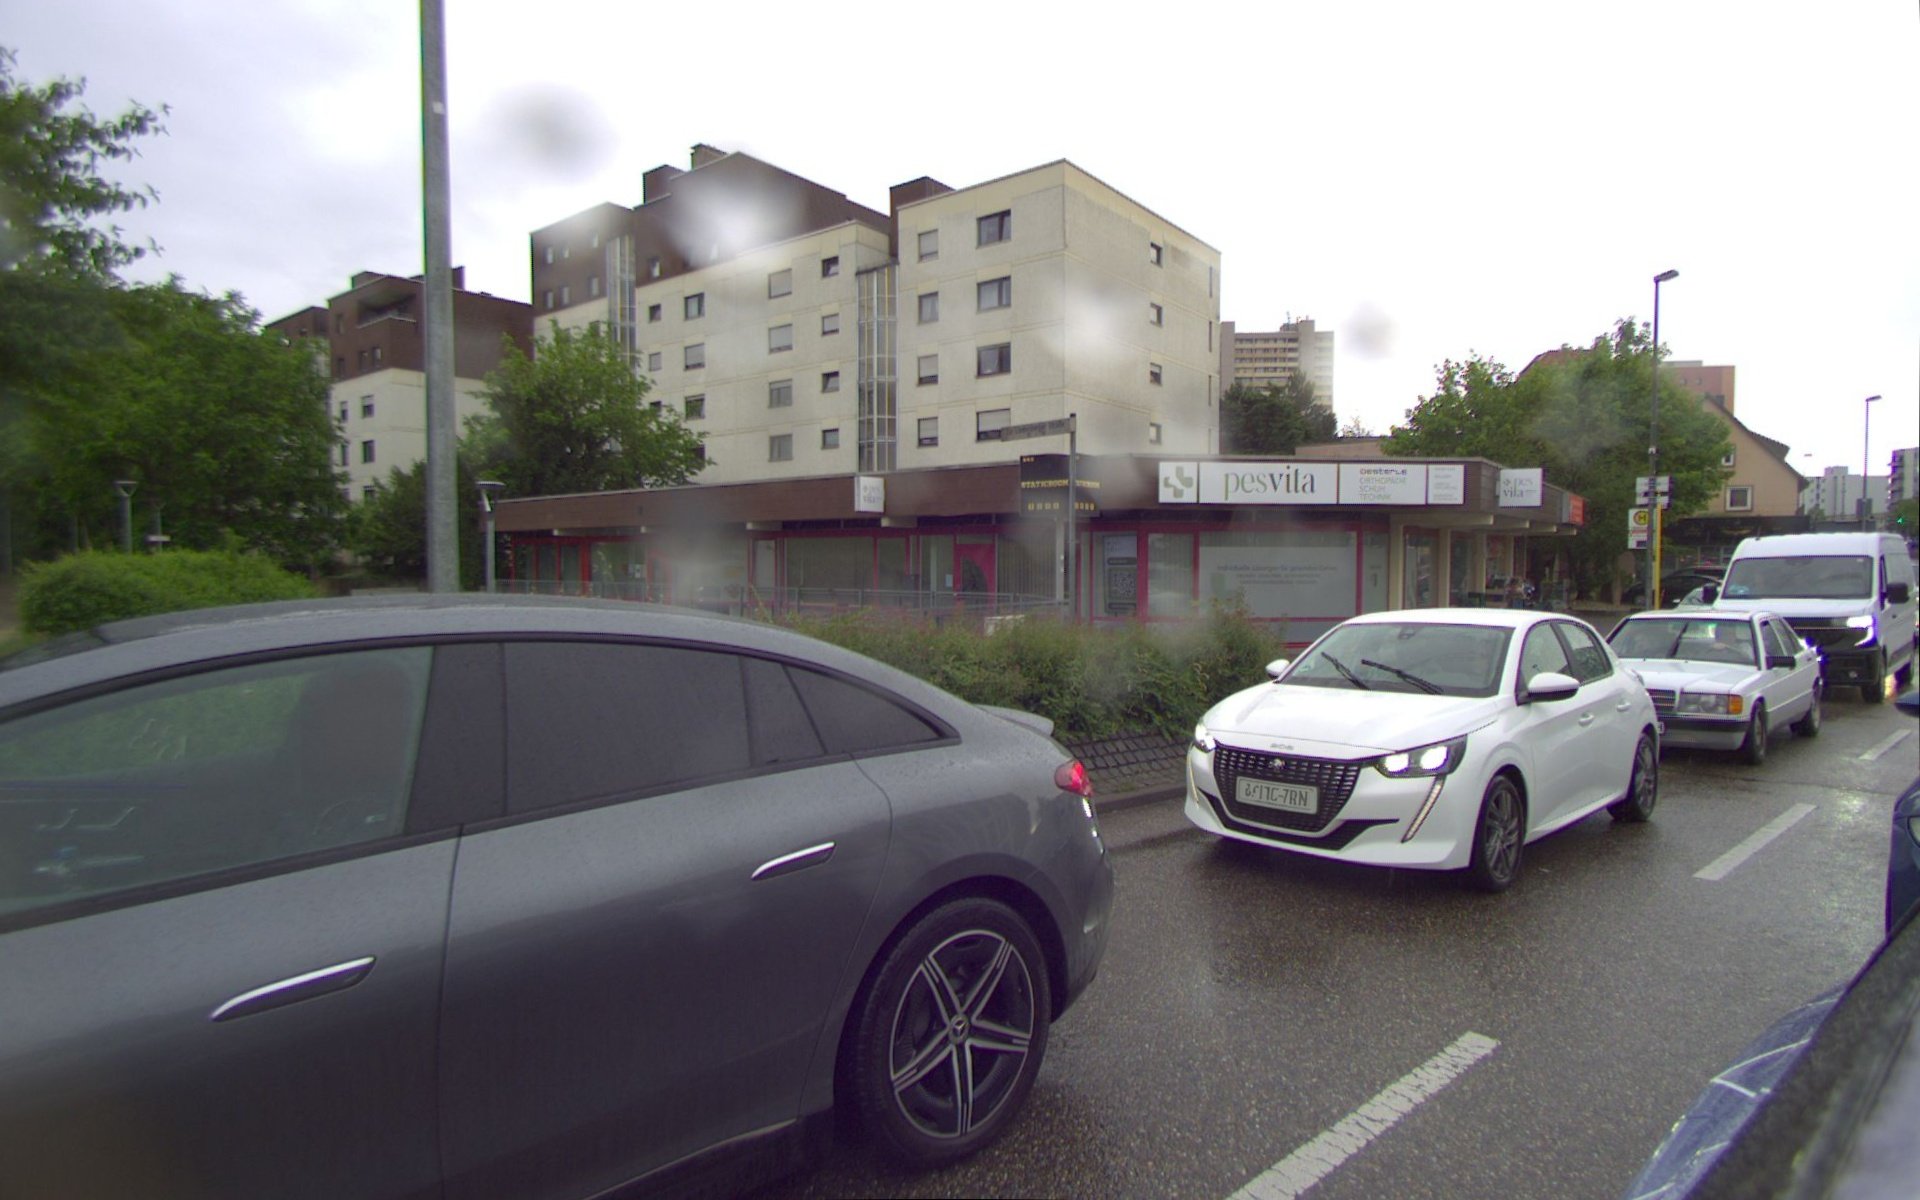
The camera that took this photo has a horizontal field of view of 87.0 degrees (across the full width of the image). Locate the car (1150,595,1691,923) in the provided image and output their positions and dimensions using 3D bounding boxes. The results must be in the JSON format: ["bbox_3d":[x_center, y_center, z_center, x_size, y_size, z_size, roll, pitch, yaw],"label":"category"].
[{"bbox_3d":[3.159,0.707,6.528,4.043,1.433,1.665,-1,1,-41],"label":"car"}]

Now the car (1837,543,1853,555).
[{"bbox_3d":[139.431,-8.028,159.425,1.657,1.654,3.754,1,1,37],"label":"car"}]

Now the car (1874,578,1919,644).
[{"bbox_3d":[24.816,0.240,25.782,3.930,1.558,1.802,-1,2,-41],"label":"car"}]

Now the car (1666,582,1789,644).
[{"bbox_3d":[20.260,0.286,26.663,3.930,1.509,1.787,-1,1,-41],"label":"car"}]

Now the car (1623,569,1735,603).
[{"bbox_3d":[32.153,-0.639,45.283,3.981,1.445,1.858,2,2,39],"label":"car"}]

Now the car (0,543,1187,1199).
[{"bbox_3d":[-1.630,0.668,2.421,4.724,1.485,1.840,0,-1,-41],"label":"car"}]

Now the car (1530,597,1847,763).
[{"bbox_3d":[7.720,0.670,10.589,4.089,1.362,1.787,-1,1,-41],"label":"car"}]

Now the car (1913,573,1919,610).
[{"bbox_3d":[42.923,-0.400,43.926,3.933,1.588,1.996,-2,1,-43],"label":"car"}]

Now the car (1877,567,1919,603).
[{"bbox_3d":[55.912,-0.909,60.133,1.994,2.038,3.938,2,3,44],"label":"car"}]

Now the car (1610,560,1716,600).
[{"bbox_3d":[33.101,-0.985,47.696,3.981,1.801,1.858,2,2,39],"label":"car"}]

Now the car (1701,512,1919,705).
[{"bbox_3d":[13.905,0.034,16.249,6.021,2.549,2.194,-2,2,-43],"label":"car"}]

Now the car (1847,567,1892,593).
[{"bbox_3d":[66.706,-1.427,74.201,3.930,1.776,1.879,0,3,-41],"label":"car"}]
